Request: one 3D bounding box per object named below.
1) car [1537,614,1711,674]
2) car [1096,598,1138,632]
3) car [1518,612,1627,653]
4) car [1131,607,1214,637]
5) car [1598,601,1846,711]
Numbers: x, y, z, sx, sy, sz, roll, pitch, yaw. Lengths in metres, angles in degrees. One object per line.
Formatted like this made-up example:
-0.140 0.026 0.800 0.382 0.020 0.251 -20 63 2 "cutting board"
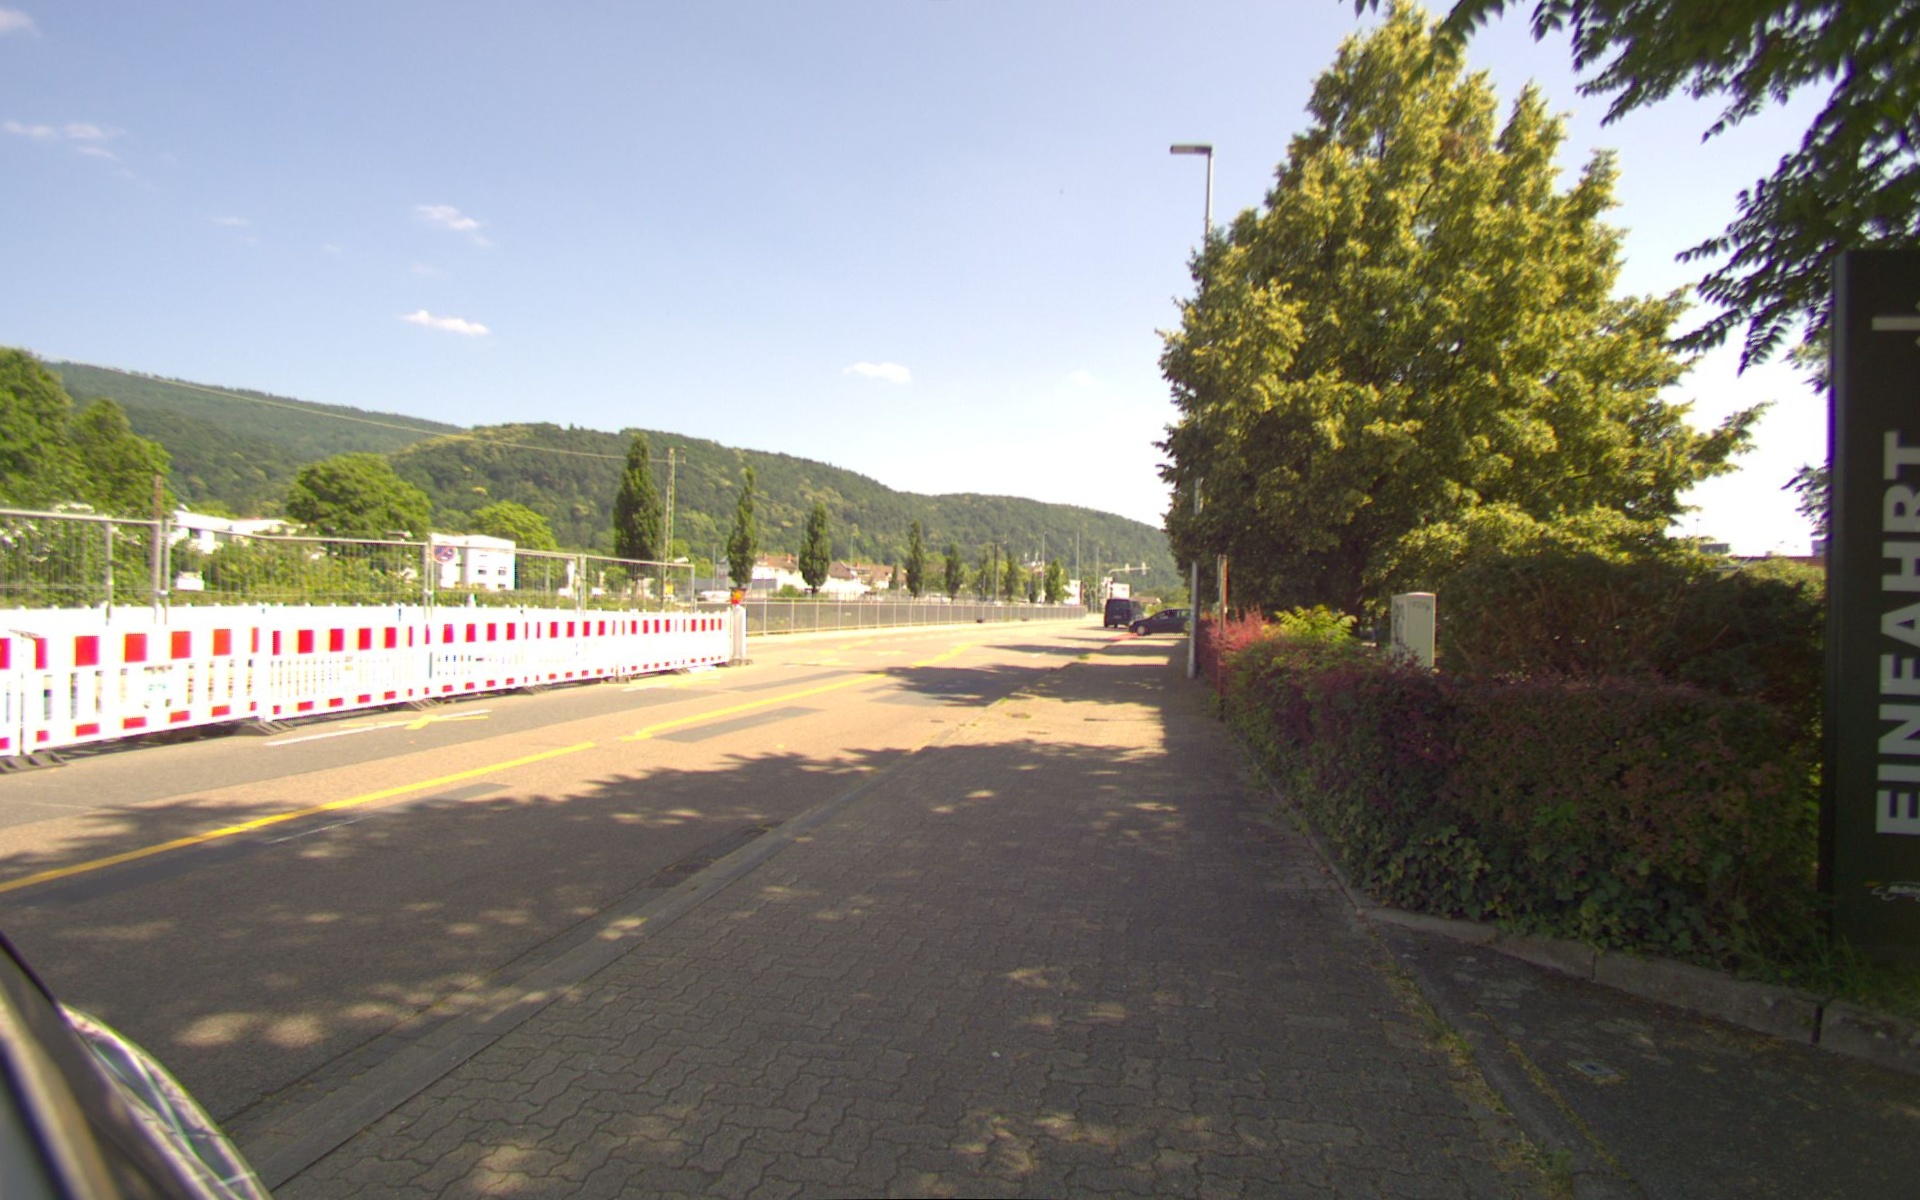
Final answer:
20.904 1.364 31.952 4.249 1.698 1.864 2 0 -3 "car"
10.451 0.960 67.097 2.163 1.982 5.420 4 1 14 "car"
25.742 1.320 42.708 1.892 1.564 4.145 1 0 -3 "car"
10.990 1.122 52.420 3.971 1.475 1.868 -1 0 21 "car"
13.956 0.933 18.907 1.842 1.698 4.353 3 0 10 "car"
